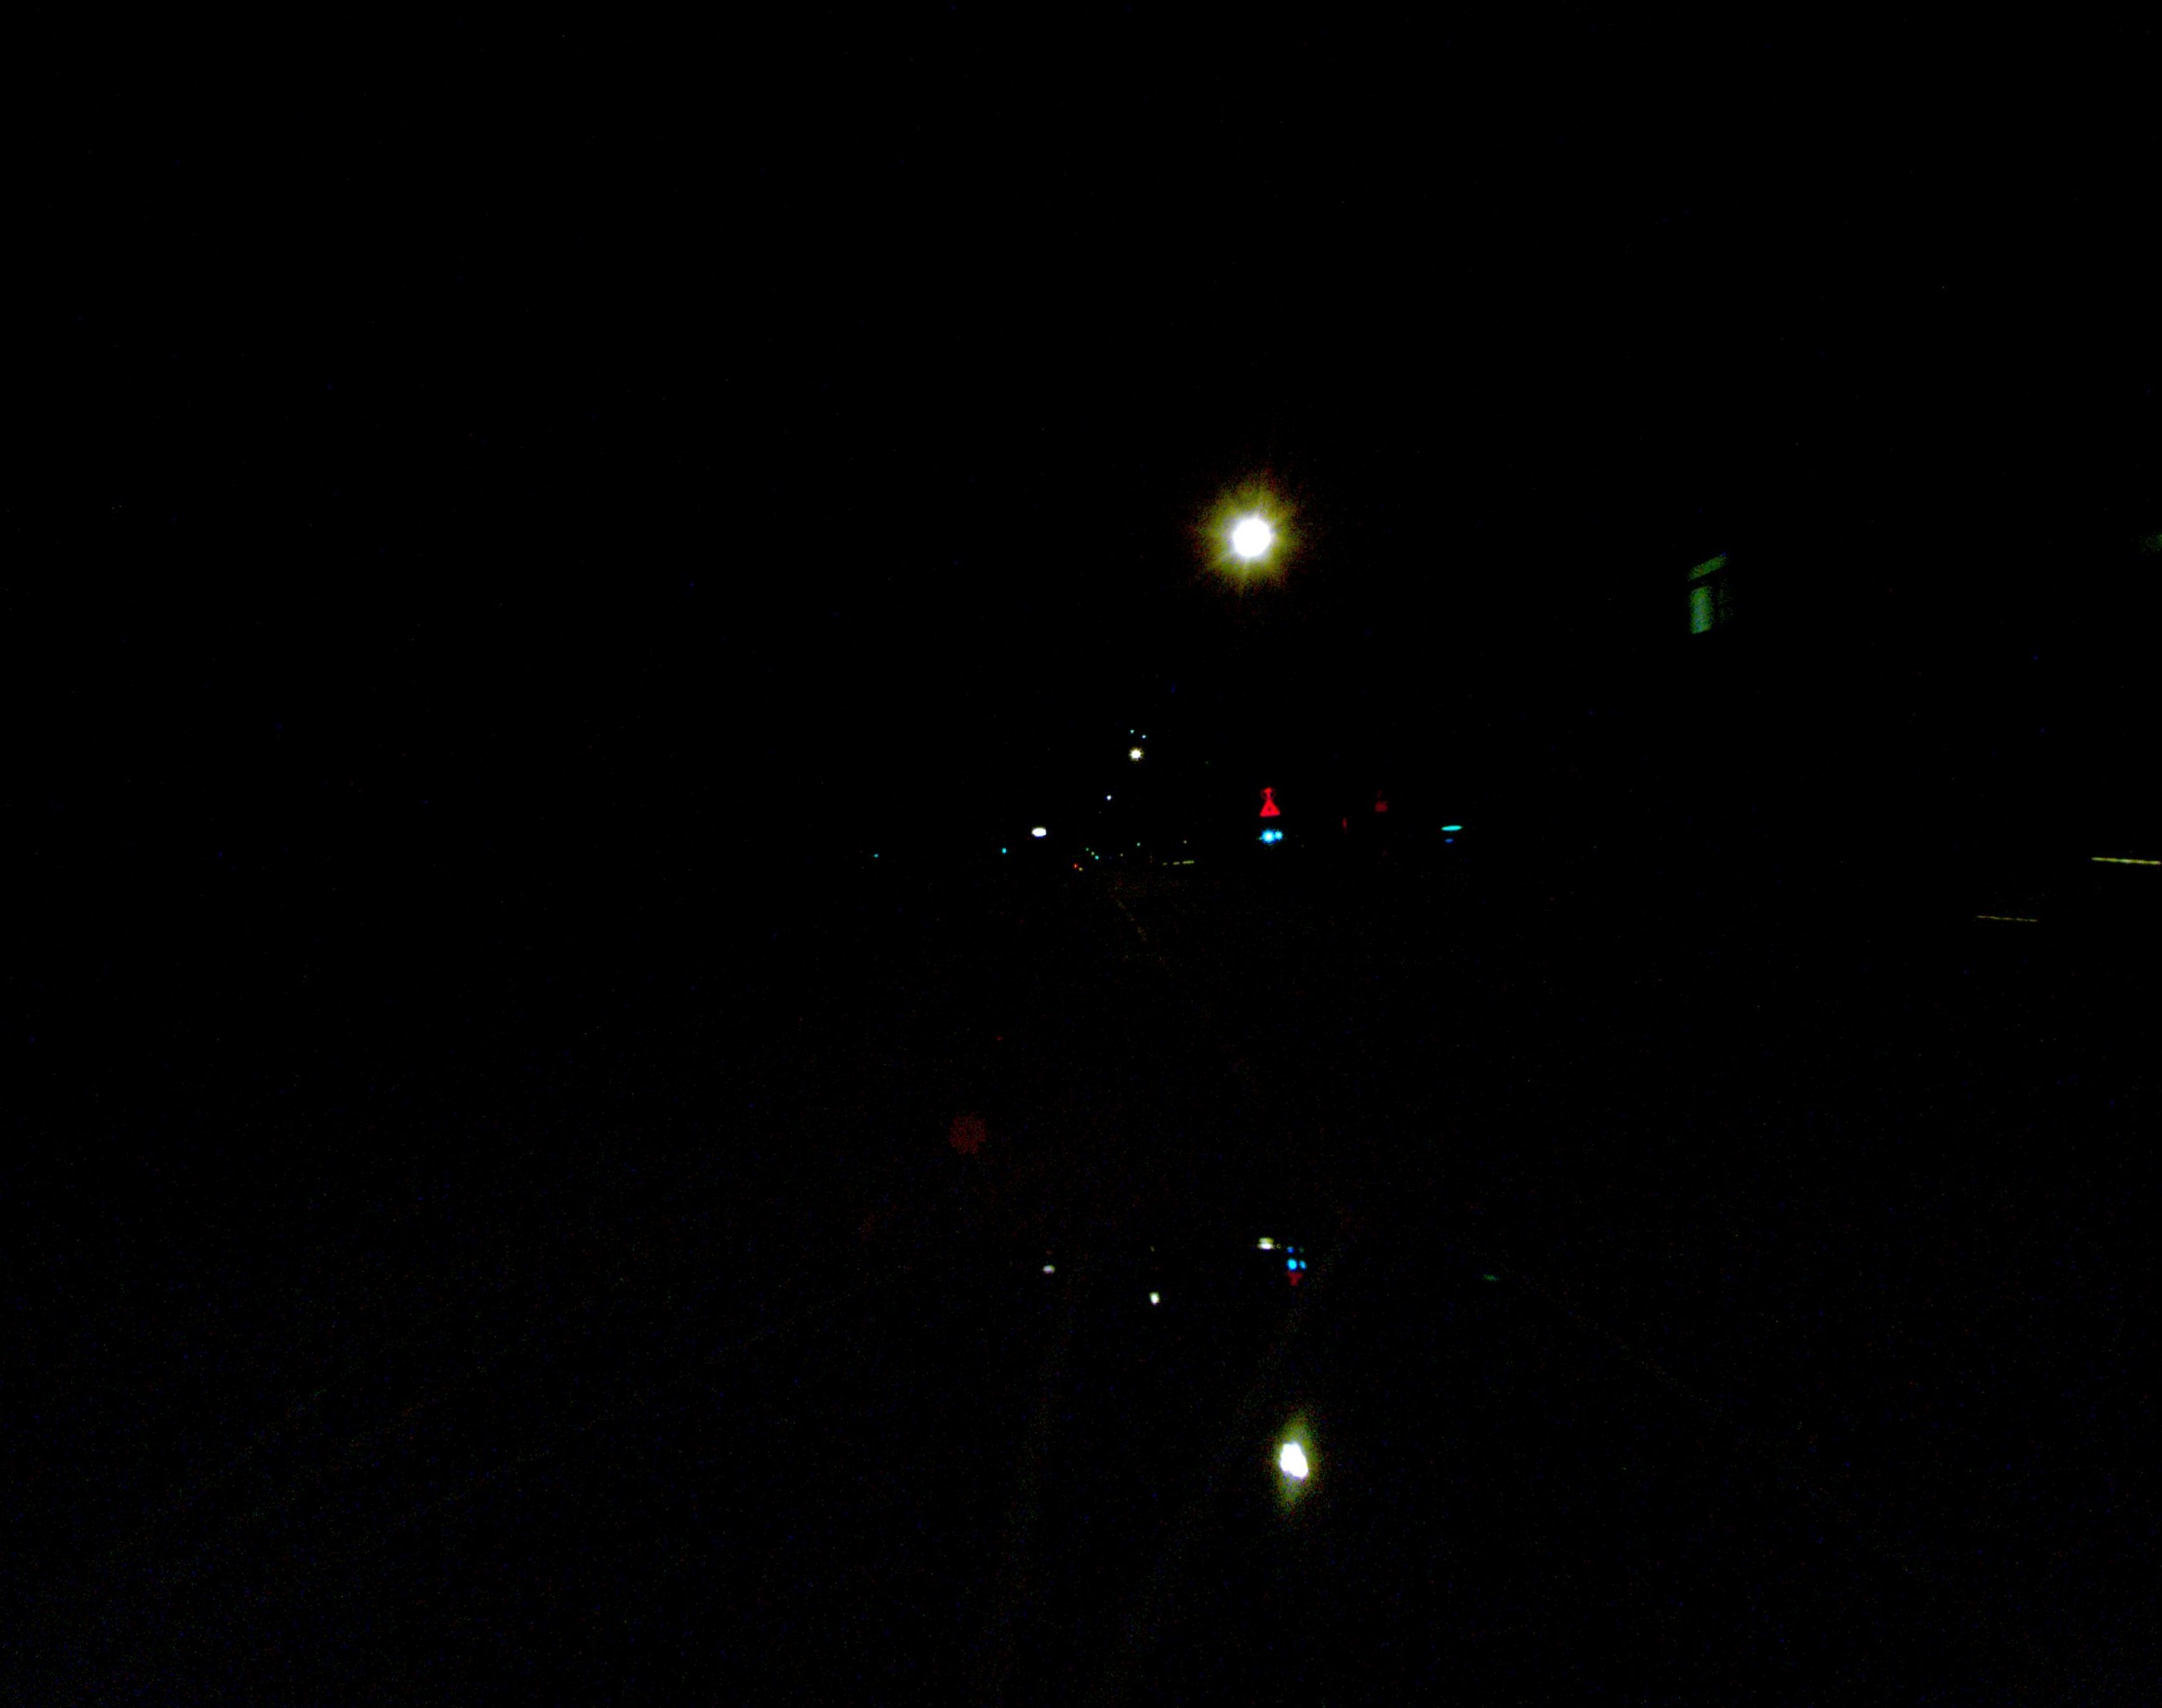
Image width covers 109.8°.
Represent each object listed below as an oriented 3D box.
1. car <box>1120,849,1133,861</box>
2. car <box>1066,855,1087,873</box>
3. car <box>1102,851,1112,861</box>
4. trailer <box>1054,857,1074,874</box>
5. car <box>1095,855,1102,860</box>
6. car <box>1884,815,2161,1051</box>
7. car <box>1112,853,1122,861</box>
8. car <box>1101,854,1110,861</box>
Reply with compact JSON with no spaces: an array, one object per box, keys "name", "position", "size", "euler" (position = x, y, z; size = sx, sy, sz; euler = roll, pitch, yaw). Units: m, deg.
[{"name":"car","position":[7.647,0.163,126.939],"size":[1.882,1.798,3.731],"euler":[-6,0,1]},{"name":"car","position":[-0.344,0.888,67.785],"size":[1.590,1.452,3.797],"euler":[-4,0,2]},{"name":"car","position":[6.895,0.605,199.899],"size":[2.005,2.493,4.953],"euler":[-6,0,-2]},{"name":"trailer","position":[-1.667,1.170,77.480],"size":[1.604,1.486,3.734],"euler":[-4,0,4]},{"name":"car","position":[5.331,0.979,228.335],"size":[1.826,1.423,3.730],"euler":[-6,0,-2]},{"name":"car","position":[7.864,0.482,4.606],"size":[1.718,1.485,3.990],"euler":[-4,0,0]},{"name":"car","position":[7.309,0.622,154.973],"size":[1.826,1.637,3.731],"euler":[-2,0,1]},{"name":"car","position":[5.971,0.853,188.236],"size":[1.826,1.423,3.730],"euler":[-6,0,-2]}]
